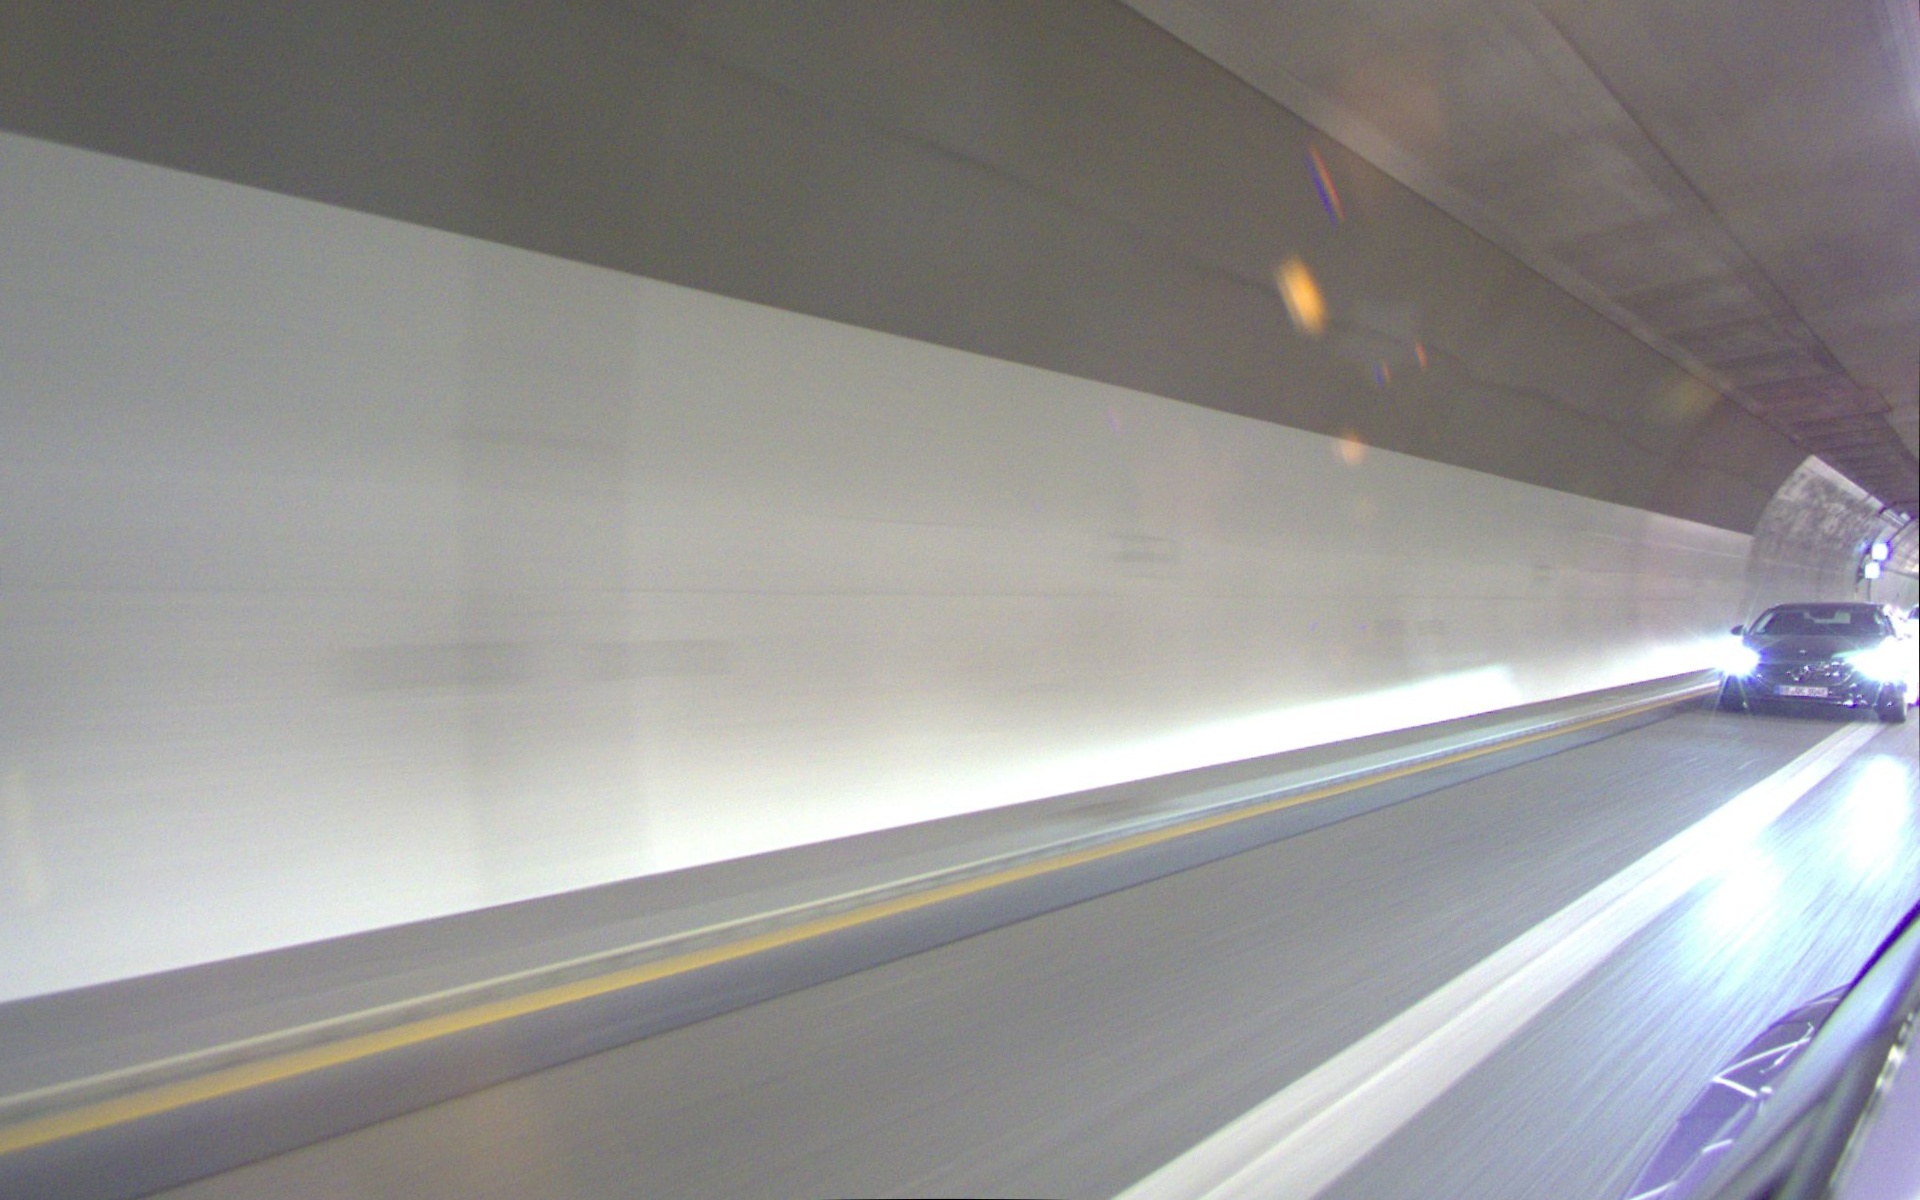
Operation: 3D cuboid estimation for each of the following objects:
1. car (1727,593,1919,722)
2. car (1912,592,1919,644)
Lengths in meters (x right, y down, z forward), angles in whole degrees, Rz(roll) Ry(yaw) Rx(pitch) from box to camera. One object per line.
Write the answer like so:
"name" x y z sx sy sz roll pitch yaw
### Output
"car" 12.176 0.665 13.996 4.446 1.496 1.822 0 0 -44
"car" 31.180 0.543 31.524 4.663 1.560 1.995 -1 1 -44
